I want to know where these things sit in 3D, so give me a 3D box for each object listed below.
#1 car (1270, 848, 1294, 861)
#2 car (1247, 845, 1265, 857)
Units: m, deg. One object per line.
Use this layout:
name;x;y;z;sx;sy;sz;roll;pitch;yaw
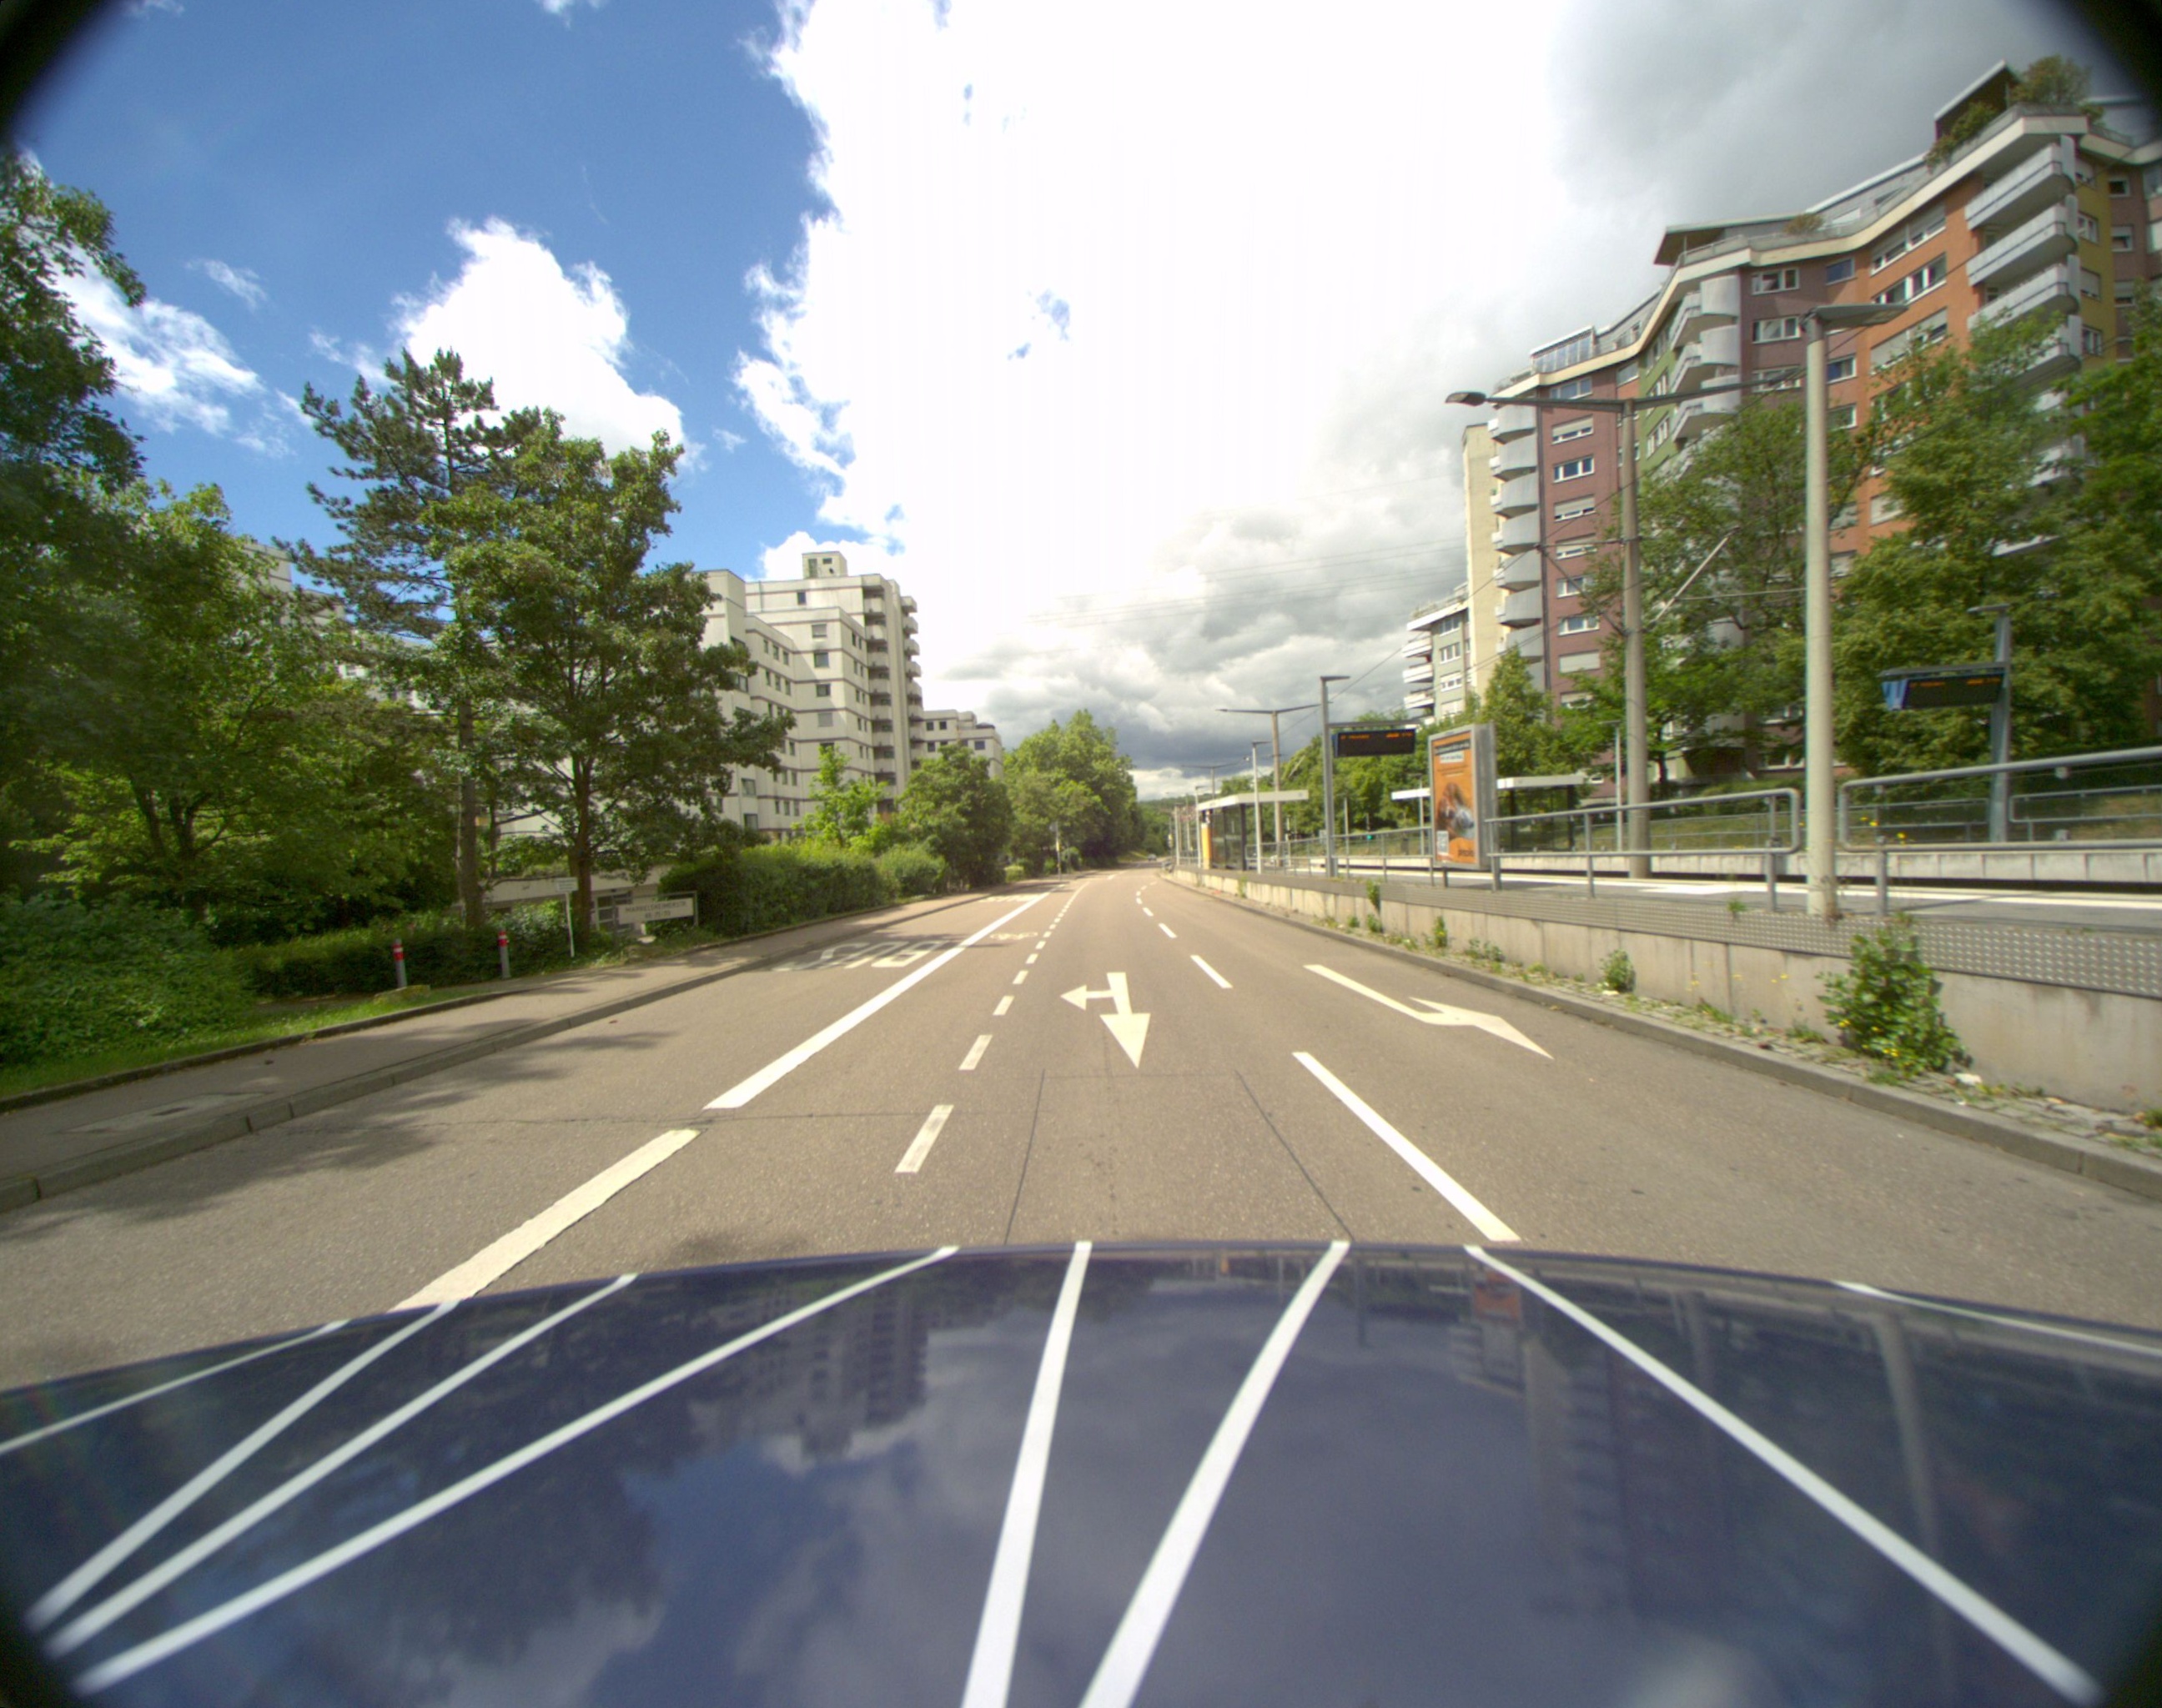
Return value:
car;22.256;0.063;84.215;1.658;1.410;4.000;-2;0;1
car;23.200;-0.451;100.766;1.658;1.503;3.738;-2;0;4
